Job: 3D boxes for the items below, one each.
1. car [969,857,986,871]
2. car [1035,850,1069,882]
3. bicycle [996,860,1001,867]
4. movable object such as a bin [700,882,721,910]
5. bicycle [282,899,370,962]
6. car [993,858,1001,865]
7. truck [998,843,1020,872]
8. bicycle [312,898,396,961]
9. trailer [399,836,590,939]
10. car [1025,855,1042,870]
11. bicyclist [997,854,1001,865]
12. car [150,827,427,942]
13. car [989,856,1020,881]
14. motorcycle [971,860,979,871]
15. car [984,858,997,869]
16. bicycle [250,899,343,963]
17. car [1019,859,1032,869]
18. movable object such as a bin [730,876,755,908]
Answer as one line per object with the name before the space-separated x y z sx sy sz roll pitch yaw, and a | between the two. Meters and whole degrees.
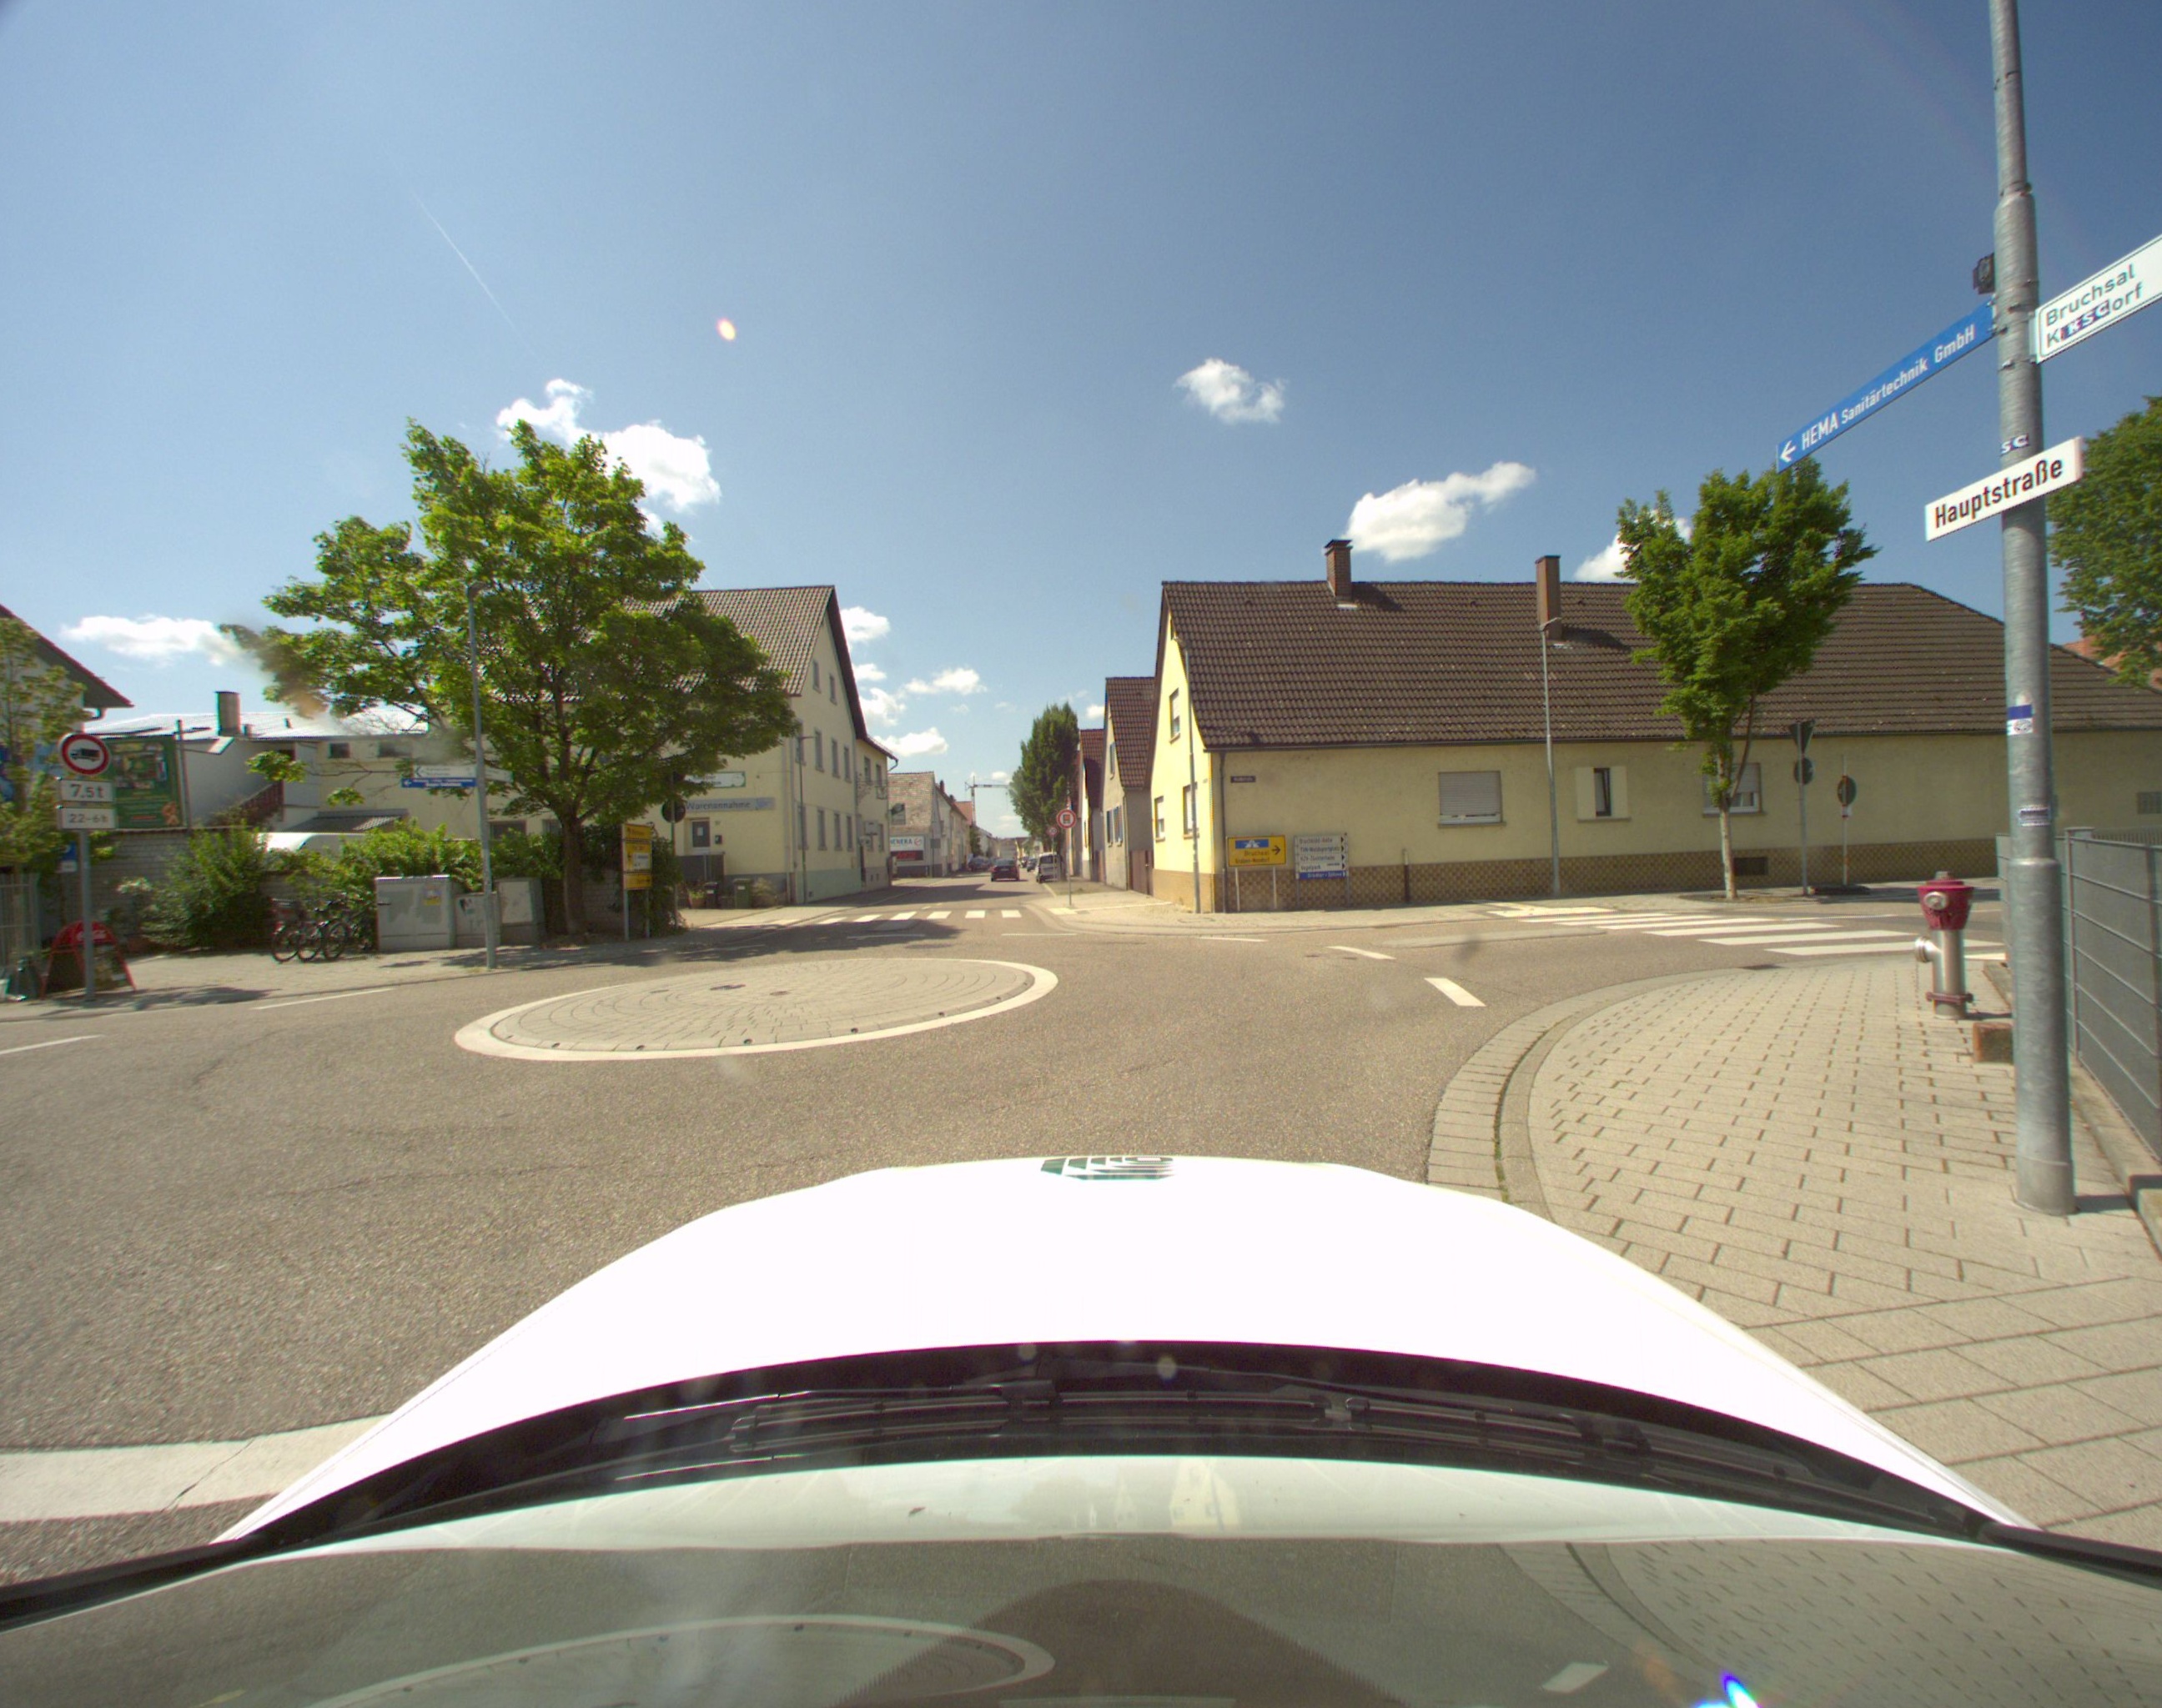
car | -12.750 1.193 100.370 1.806 1.589 3.992 -2 0 -5
car | -1.840 0.693 50.098 1.718 1.790 4.134 -3 0 -6
bicycle | -15.323 1.775 151.455 0.750 1.308 2.680 0 -1 -5
movable object such as a bin | -13.035 1.469 28.638 0.478 0.928 0.546 -2 0 -3
bicycle | -14.759 1.464 15.979 0.401 1.003 1.971 -2 2 -16
car | -20.103 1.760 195.076 1.806 1.589 3.993 -2 0 -5
truck | -10.837 0.534 123.327 3.138 4.250 9.290 0 -1 -3
bicycle | -14.322 1.462 16.105 0.401 1.003 1.971 -2 2 -16
trailer | -14.883 0.767 21.044 1.875 2.335 4.517 -1 0 -4
car | -5.054 0.860 86.481 1.716 1.461 4.152 -2 0 -3
bicyclist | -15.316 1.059 151.445 0.739 2.059 0.842 0 -1 -6
car | -20.114 0.694 21.173 1.933 2.567 5.639 -1 0 -4
car | -5.123 0.930 54.873 1.898 1.563 4.470 -2 0 -4
motorcycle | -12.527 1.361 96.396 0.845 1.170 2.464 0 -1 -6
car | -13.943 1.482 125.323 1.806 1.589 3.992 -2 0 -5
bicycle | -15.185 1.465 15.823 0.401 1.003 1.971 -2 2 -16
car | -7.801 1.338 114.773 1.716 1.355 4.150 -2 0 -4
movable object such as a bin | -12.014 1.356 28.914 0.598 1.078 0.658 -2 0 -3
